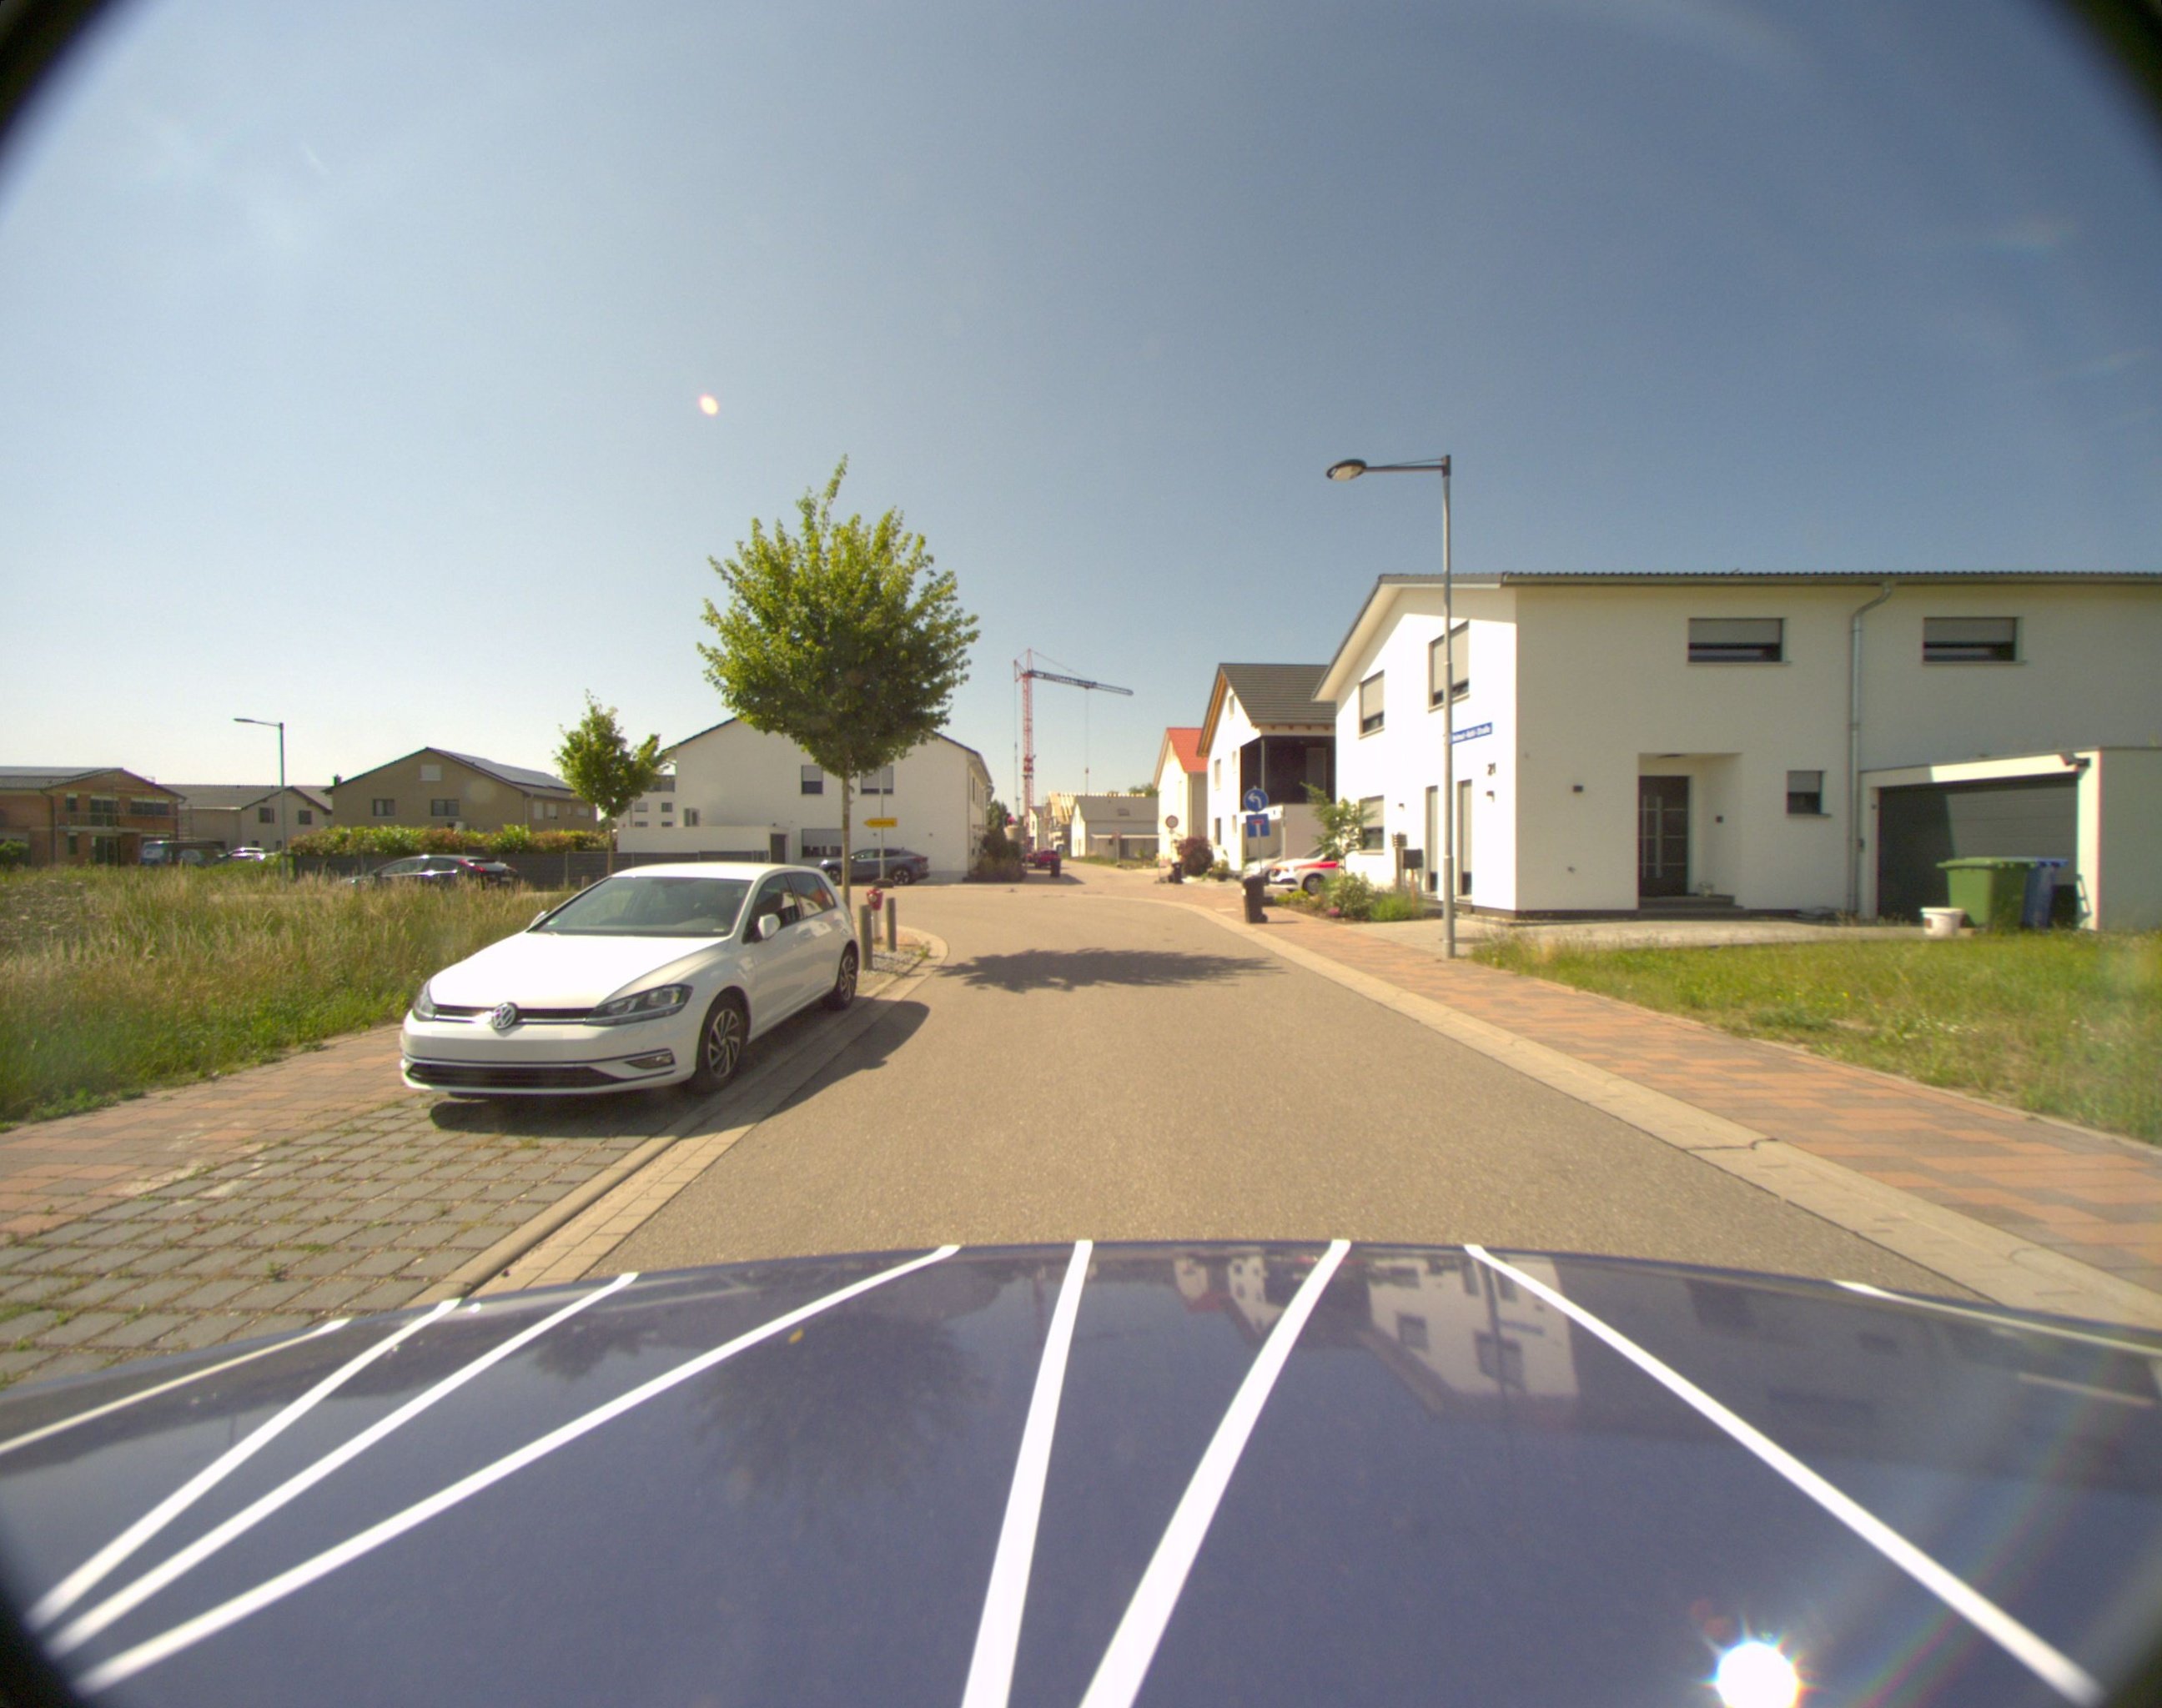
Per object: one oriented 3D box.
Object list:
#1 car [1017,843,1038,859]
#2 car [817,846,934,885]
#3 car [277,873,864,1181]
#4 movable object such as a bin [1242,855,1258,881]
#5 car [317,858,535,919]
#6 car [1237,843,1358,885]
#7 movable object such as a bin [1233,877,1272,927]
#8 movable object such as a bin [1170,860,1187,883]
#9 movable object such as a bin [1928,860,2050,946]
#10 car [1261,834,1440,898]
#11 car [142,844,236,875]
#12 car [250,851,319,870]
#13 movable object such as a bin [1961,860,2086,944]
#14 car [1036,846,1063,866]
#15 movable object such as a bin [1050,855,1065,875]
[{"bbox_3d":[-5.556,-0.325,78.797,1.804,1.609,3.671,-1,2,-11],"label":"car"},{"bbox_3d":[-8.506,0.462,31.768,4.348,1.549,1.960,0,0,-3],"label":"car"},{"bbox_3d":[-3.201,0.937,5.955,1.780,1.411,4.165,1,0,0],"label":"car"},{"bbox_3d":[7.229,0.589,32.573,0.500,1.085,0.601,-1,0,-5],"label":"movable object such as a bin"},{"bbox_3d":[-17.947,0.906,21.015,4.193,1.485,1.848,-1,2,-7],"label":"car"},{"bbox_3d":[8.351,0.365,29.482,4.165,1.553,1.744,0,1,-6],"label":"car"},{"bbox_3d":[3.370,0.933,14.961,0.625,0.943,0.499,-1,2,-5],"label":"movable object such as a bin"},{"bbox_3d":[4.084,0.737,31.823,0.618,0.931,0.564,-1,1,-5],"label":"movable object such as a bin"},{"bbox_3d":[12.248,0.645,10.275,0.661,1.092,0.784,1,1,-1],"label":"movable object such as a bin"},{"bbox_3d":[8.130,0.326,23.205,4.749,1.864,1.937,0,1,-3],"label":"car"},{"bbox_3d":[-60.647,0.327,51.755,2.000,2.002,3.996,0,1,-9],"label":"car"},{"bbox_3d":[-61.613,0.507,58.875,1.668,1.392,3.916,0,1,-9],"label":"car"},{"bbox_3d":[12.874,0.638,10.410,0.671,1.092,0.807,1,1,0],"label":"movable object such as a bin"},{"bbox_3d":[-2.465,0.139,59.486,1.912,1.471,3.997,0,2,-5],"label":"car"},{"bbox_3d":[-1.300,0.619,41.798,0.824,1.058,0.589,-1,2,-5],"label":"movable object such as a bin"}]
